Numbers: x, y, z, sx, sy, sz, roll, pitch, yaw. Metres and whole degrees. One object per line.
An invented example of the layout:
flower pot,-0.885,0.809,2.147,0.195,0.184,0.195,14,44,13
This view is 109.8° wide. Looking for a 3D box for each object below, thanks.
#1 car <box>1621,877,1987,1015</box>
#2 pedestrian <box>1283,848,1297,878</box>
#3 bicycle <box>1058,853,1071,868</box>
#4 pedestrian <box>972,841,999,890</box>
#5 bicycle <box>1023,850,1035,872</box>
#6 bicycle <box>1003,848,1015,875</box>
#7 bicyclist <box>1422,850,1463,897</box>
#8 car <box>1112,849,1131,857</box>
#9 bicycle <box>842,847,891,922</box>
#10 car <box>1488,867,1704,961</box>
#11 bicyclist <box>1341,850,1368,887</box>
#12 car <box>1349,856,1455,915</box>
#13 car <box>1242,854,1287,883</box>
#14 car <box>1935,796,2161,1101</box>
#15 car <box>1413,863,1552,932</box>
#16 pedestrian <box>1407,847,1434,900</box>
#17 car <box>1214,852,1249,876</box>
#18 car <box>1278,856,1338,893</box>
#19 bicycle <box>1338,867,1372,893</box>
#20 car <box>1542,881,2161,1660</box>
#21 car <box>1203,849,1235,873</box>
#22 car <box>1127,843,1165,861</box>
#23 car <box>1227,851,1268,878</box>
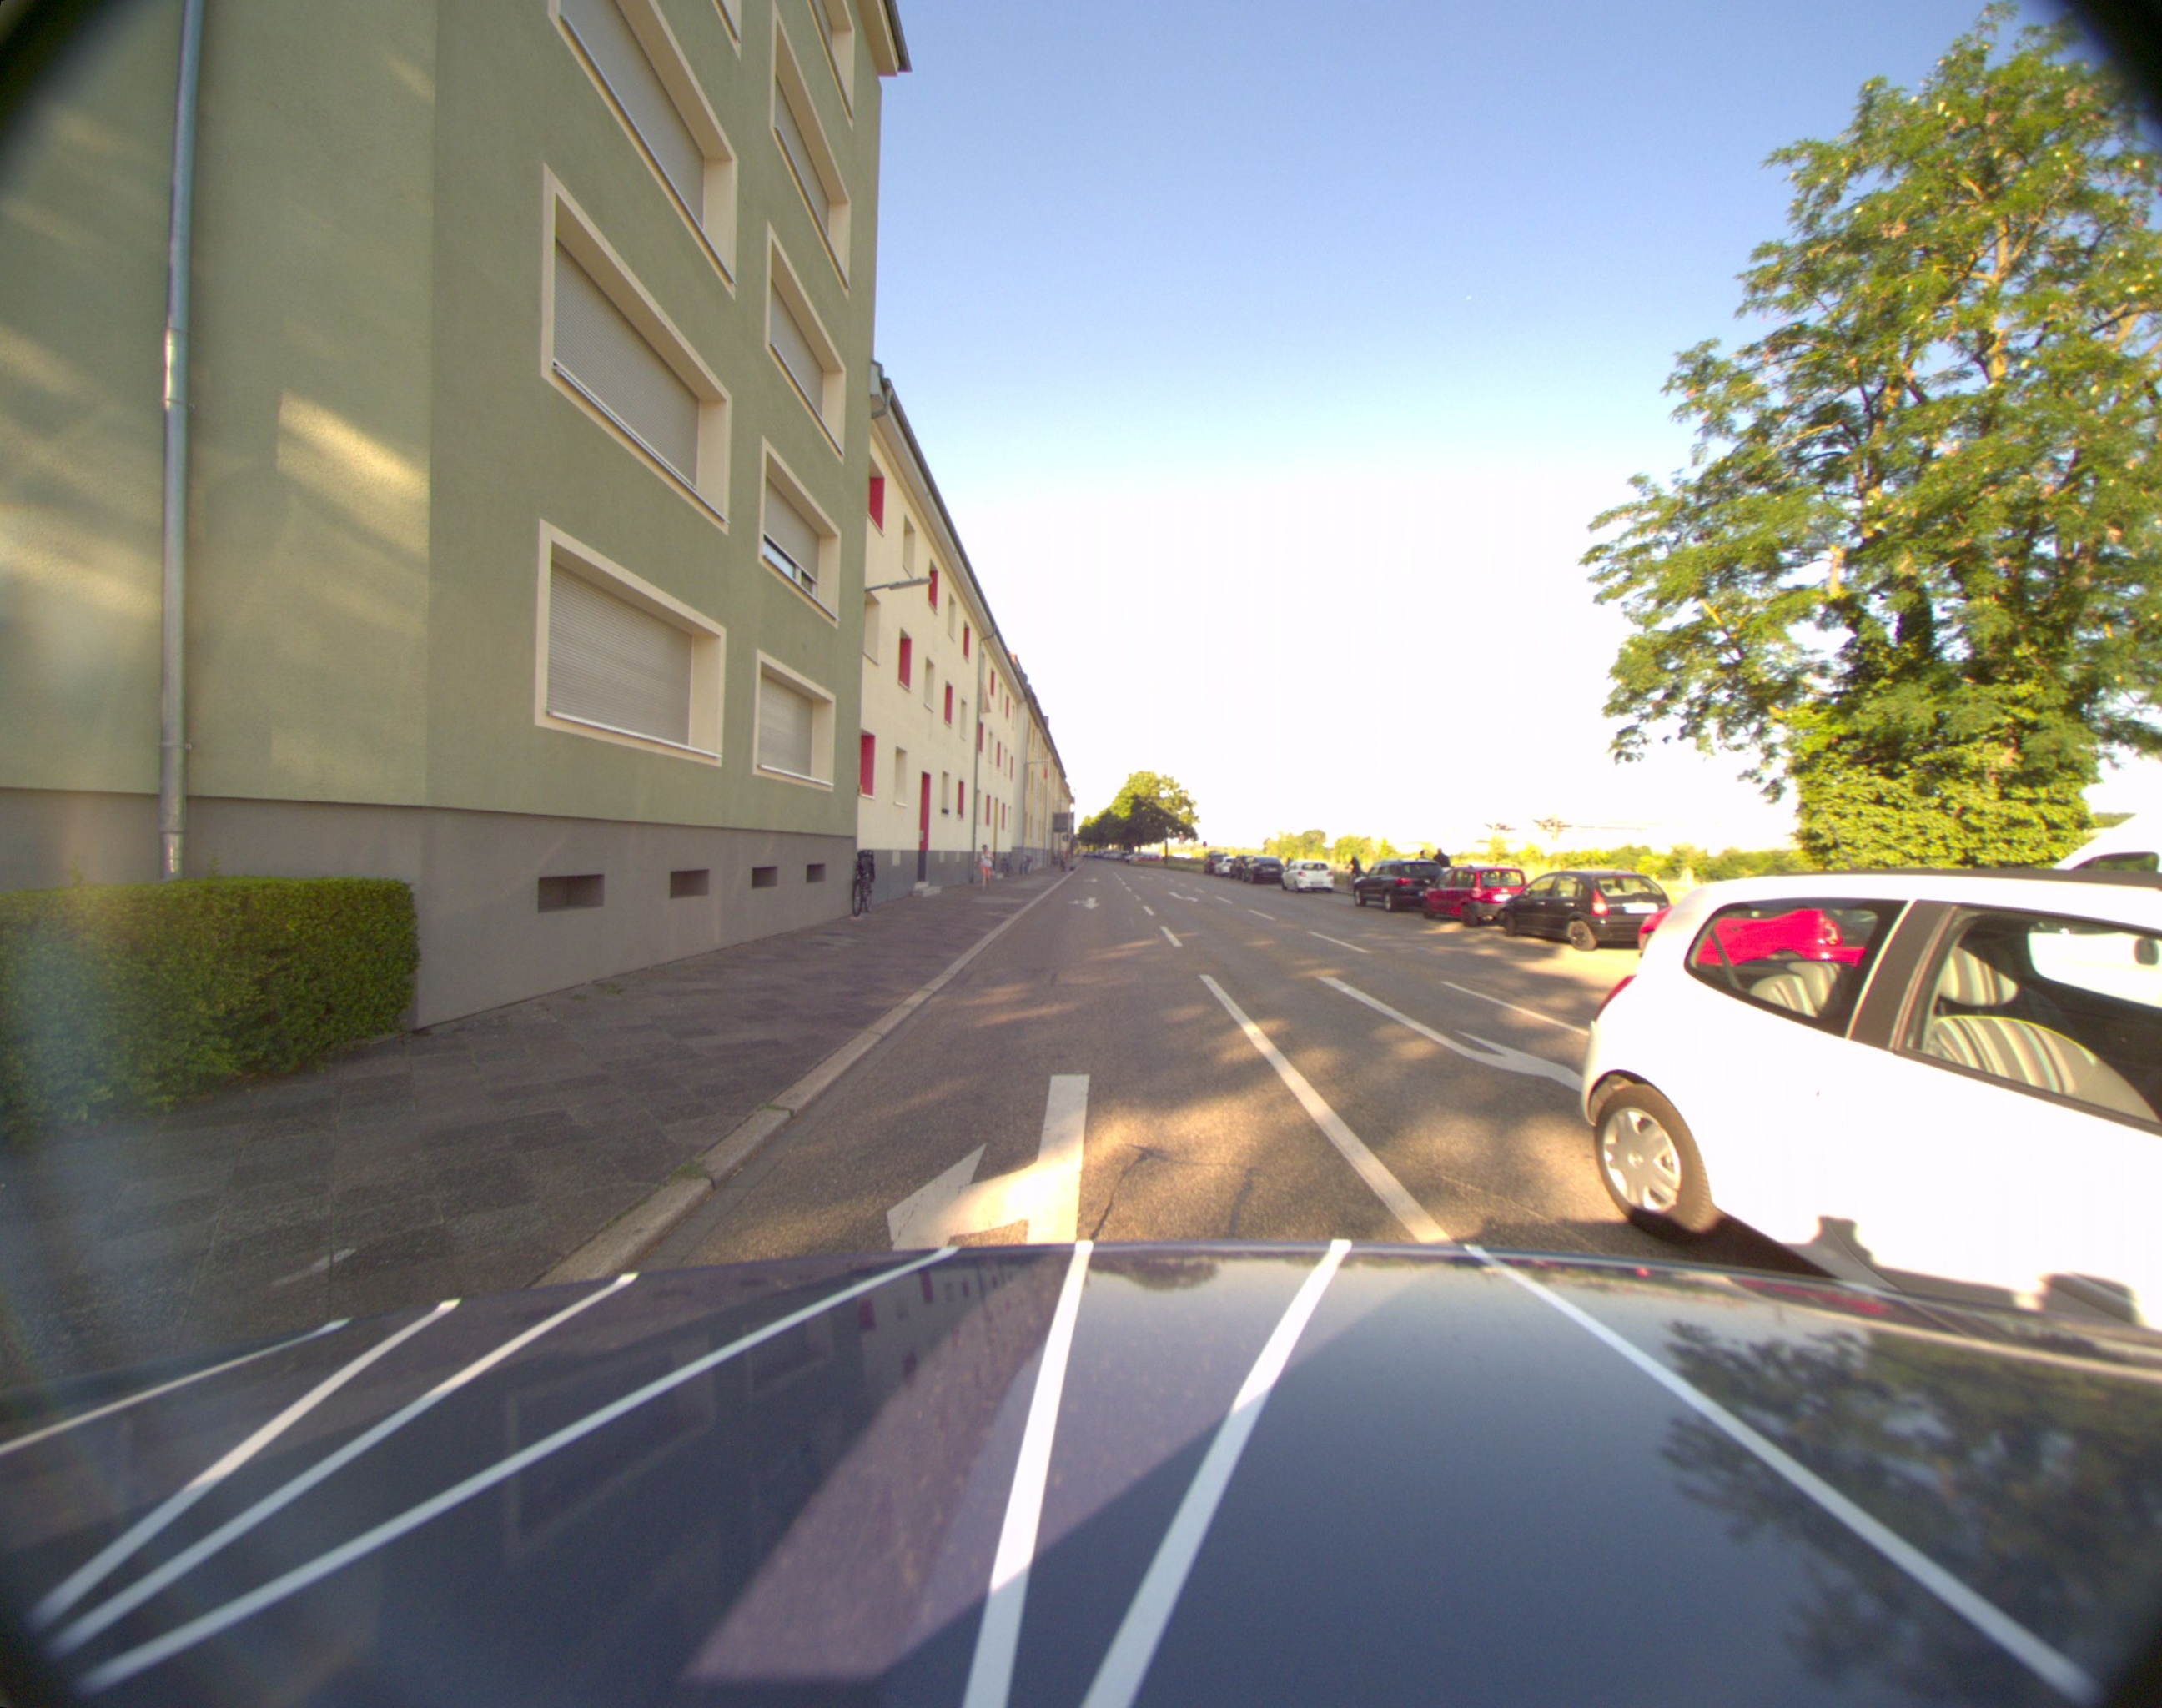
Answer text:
car,10.069,1.174,11.048,1.745,1.478,3.694,2,1,0
pedestrian,13.961,0.594,50.708,0.706,2.002,0.710,2,1,2
bicycle,-1.246,0.485,56.847,0.651,1.091,2.201,1,1,-8
pedestrian,-3.395,0.397,27.075,0.787,1.697,0.950,3,1,1
bicycle,-3.161,0.427,46.312,0.517,1.318,2.210,2,1,2
bicycle,-3.931,0.377,41.380,0.517,1.404,1.873,2,1,-3
bicyclist,12.758,0.669,26.871,0.866,1.587,1.146,2,1,0
car,9.197,-0.236,173.170,3.997,1.708,2.000,2,1,-1
bicycle,-4.308,0.572,15.376,0.517,1.404,1.873,2,1,-3
car,10.171,1.100,15.417,1.745,1.521,3.816,2,1,0
bicyclist,12.170,0.636,33.832,0.768,1.587,1.146,2,1,2
car,10.143,0.944,24.354,1.664,1.649,4.005,2,1,0
car,10.573,0.805,44.009,1.823,1.517,4.291,2,0,5
car,9.689,0.743,4.825,2.235,2.422,5.559,-1,1,-1
car,10.264,1.058,19.734,1.664,1.521,3.579,2,1,0
pedestrian,13.072,0.756,29.260,0.615,2.002,0.730,2,1,-1
car,10.856,0.699,55.102,1.823,1.565,4.220,2,1,2
car,10.413,0.914,35.075,1.706,1.517,3.583,2,1,1
bicycle,12.199,1.136,33.896,0.748,1.084,2.163,2,1,3
car,3.015,0.891,1.615,1.705,1.460,3.775,2,1,-1
car,11.005,0.516,60.986,1.890,1.765,4.220,2,1,2
car,9.523,-0.309,112.248,5.322,2.398,2.266,-2,1,0
car,10.850,0.675,49.709,1.823,1.628,4.220,2,1,2
